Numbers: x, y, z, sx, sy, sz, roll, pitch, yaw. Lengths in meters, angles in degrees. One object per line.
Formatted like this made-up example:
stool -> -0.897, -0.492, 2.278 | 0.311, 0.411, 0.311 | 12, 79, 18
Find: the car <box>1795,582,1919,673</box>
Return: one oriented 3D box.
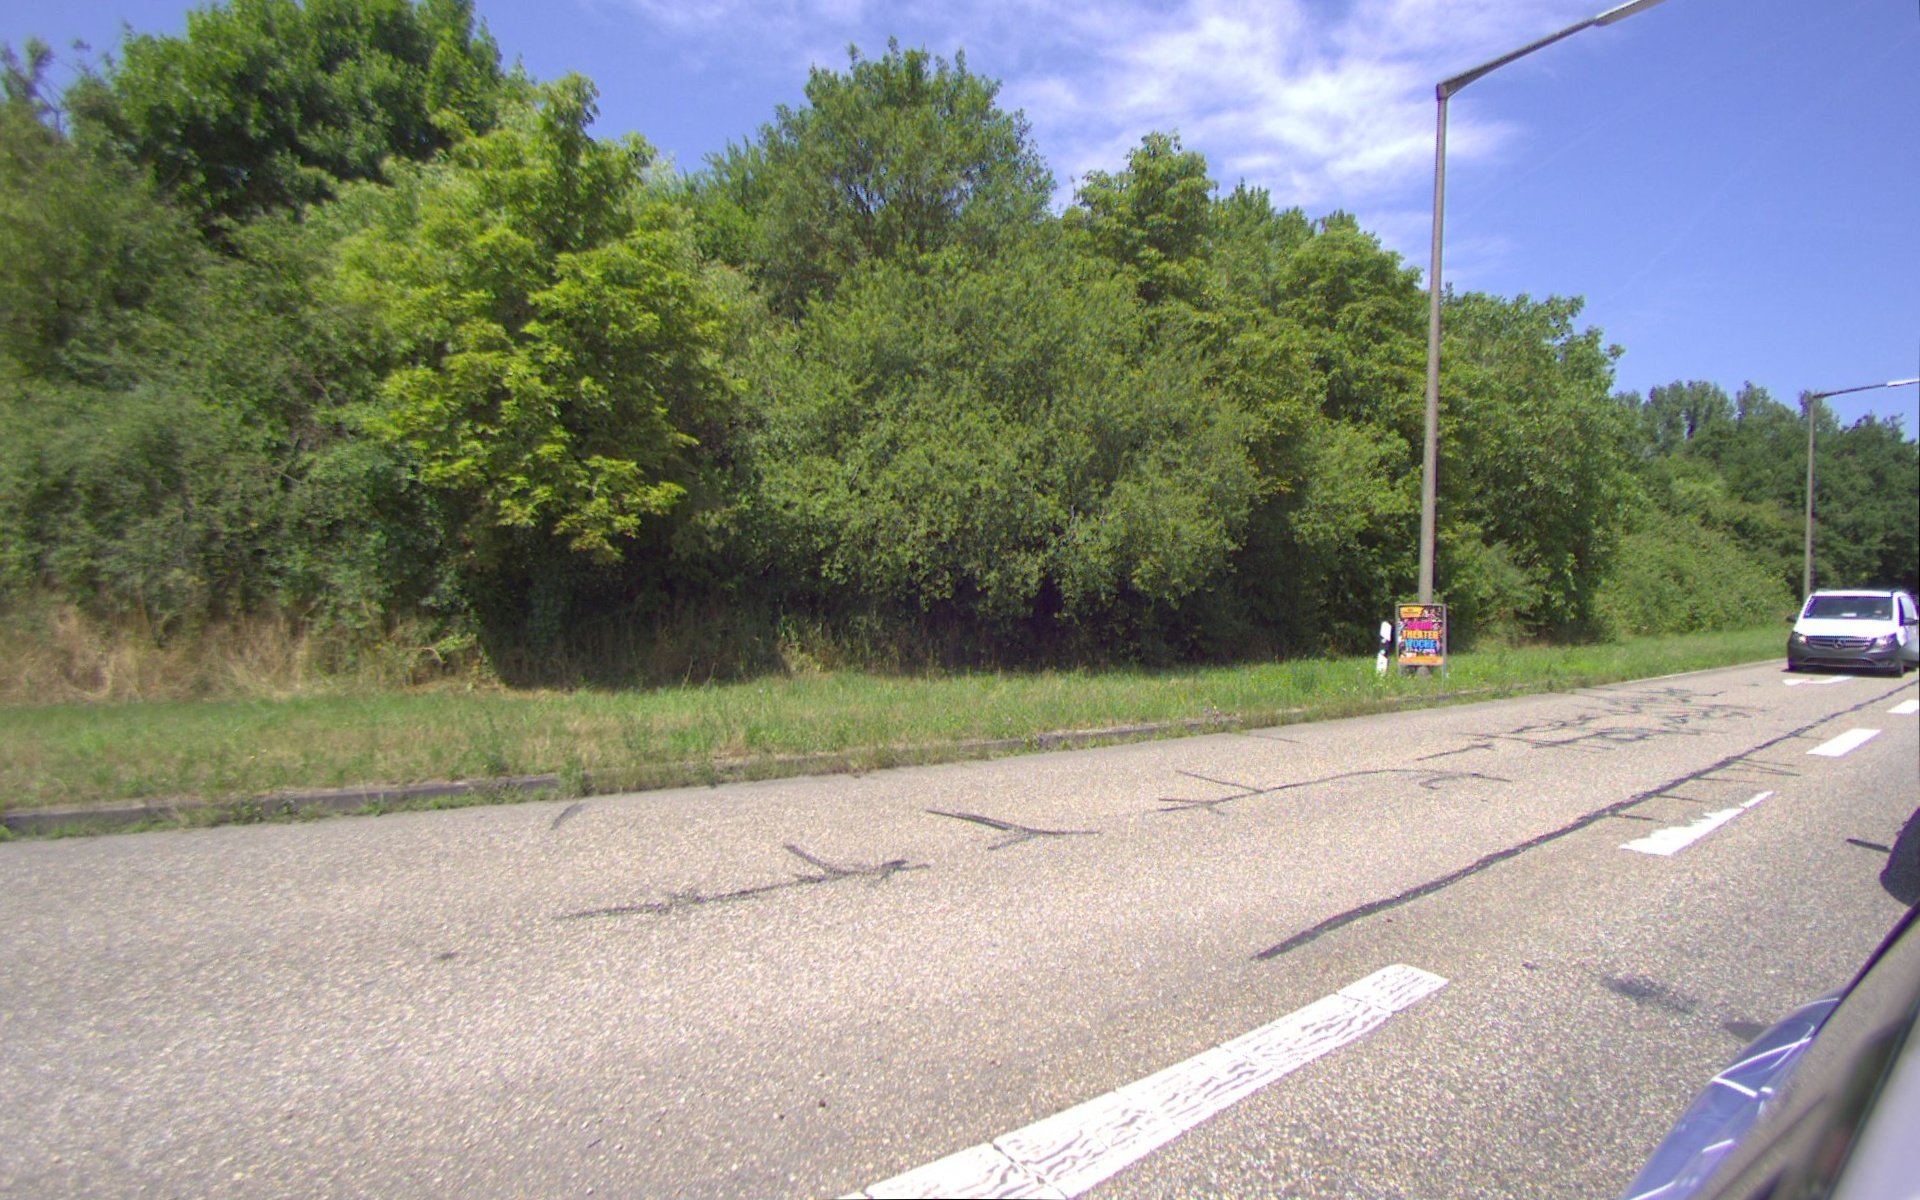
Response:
car -> 20.421, 0.553, 22.685 | 4.822, 1.841, 1.863 | 0, 0, -41
